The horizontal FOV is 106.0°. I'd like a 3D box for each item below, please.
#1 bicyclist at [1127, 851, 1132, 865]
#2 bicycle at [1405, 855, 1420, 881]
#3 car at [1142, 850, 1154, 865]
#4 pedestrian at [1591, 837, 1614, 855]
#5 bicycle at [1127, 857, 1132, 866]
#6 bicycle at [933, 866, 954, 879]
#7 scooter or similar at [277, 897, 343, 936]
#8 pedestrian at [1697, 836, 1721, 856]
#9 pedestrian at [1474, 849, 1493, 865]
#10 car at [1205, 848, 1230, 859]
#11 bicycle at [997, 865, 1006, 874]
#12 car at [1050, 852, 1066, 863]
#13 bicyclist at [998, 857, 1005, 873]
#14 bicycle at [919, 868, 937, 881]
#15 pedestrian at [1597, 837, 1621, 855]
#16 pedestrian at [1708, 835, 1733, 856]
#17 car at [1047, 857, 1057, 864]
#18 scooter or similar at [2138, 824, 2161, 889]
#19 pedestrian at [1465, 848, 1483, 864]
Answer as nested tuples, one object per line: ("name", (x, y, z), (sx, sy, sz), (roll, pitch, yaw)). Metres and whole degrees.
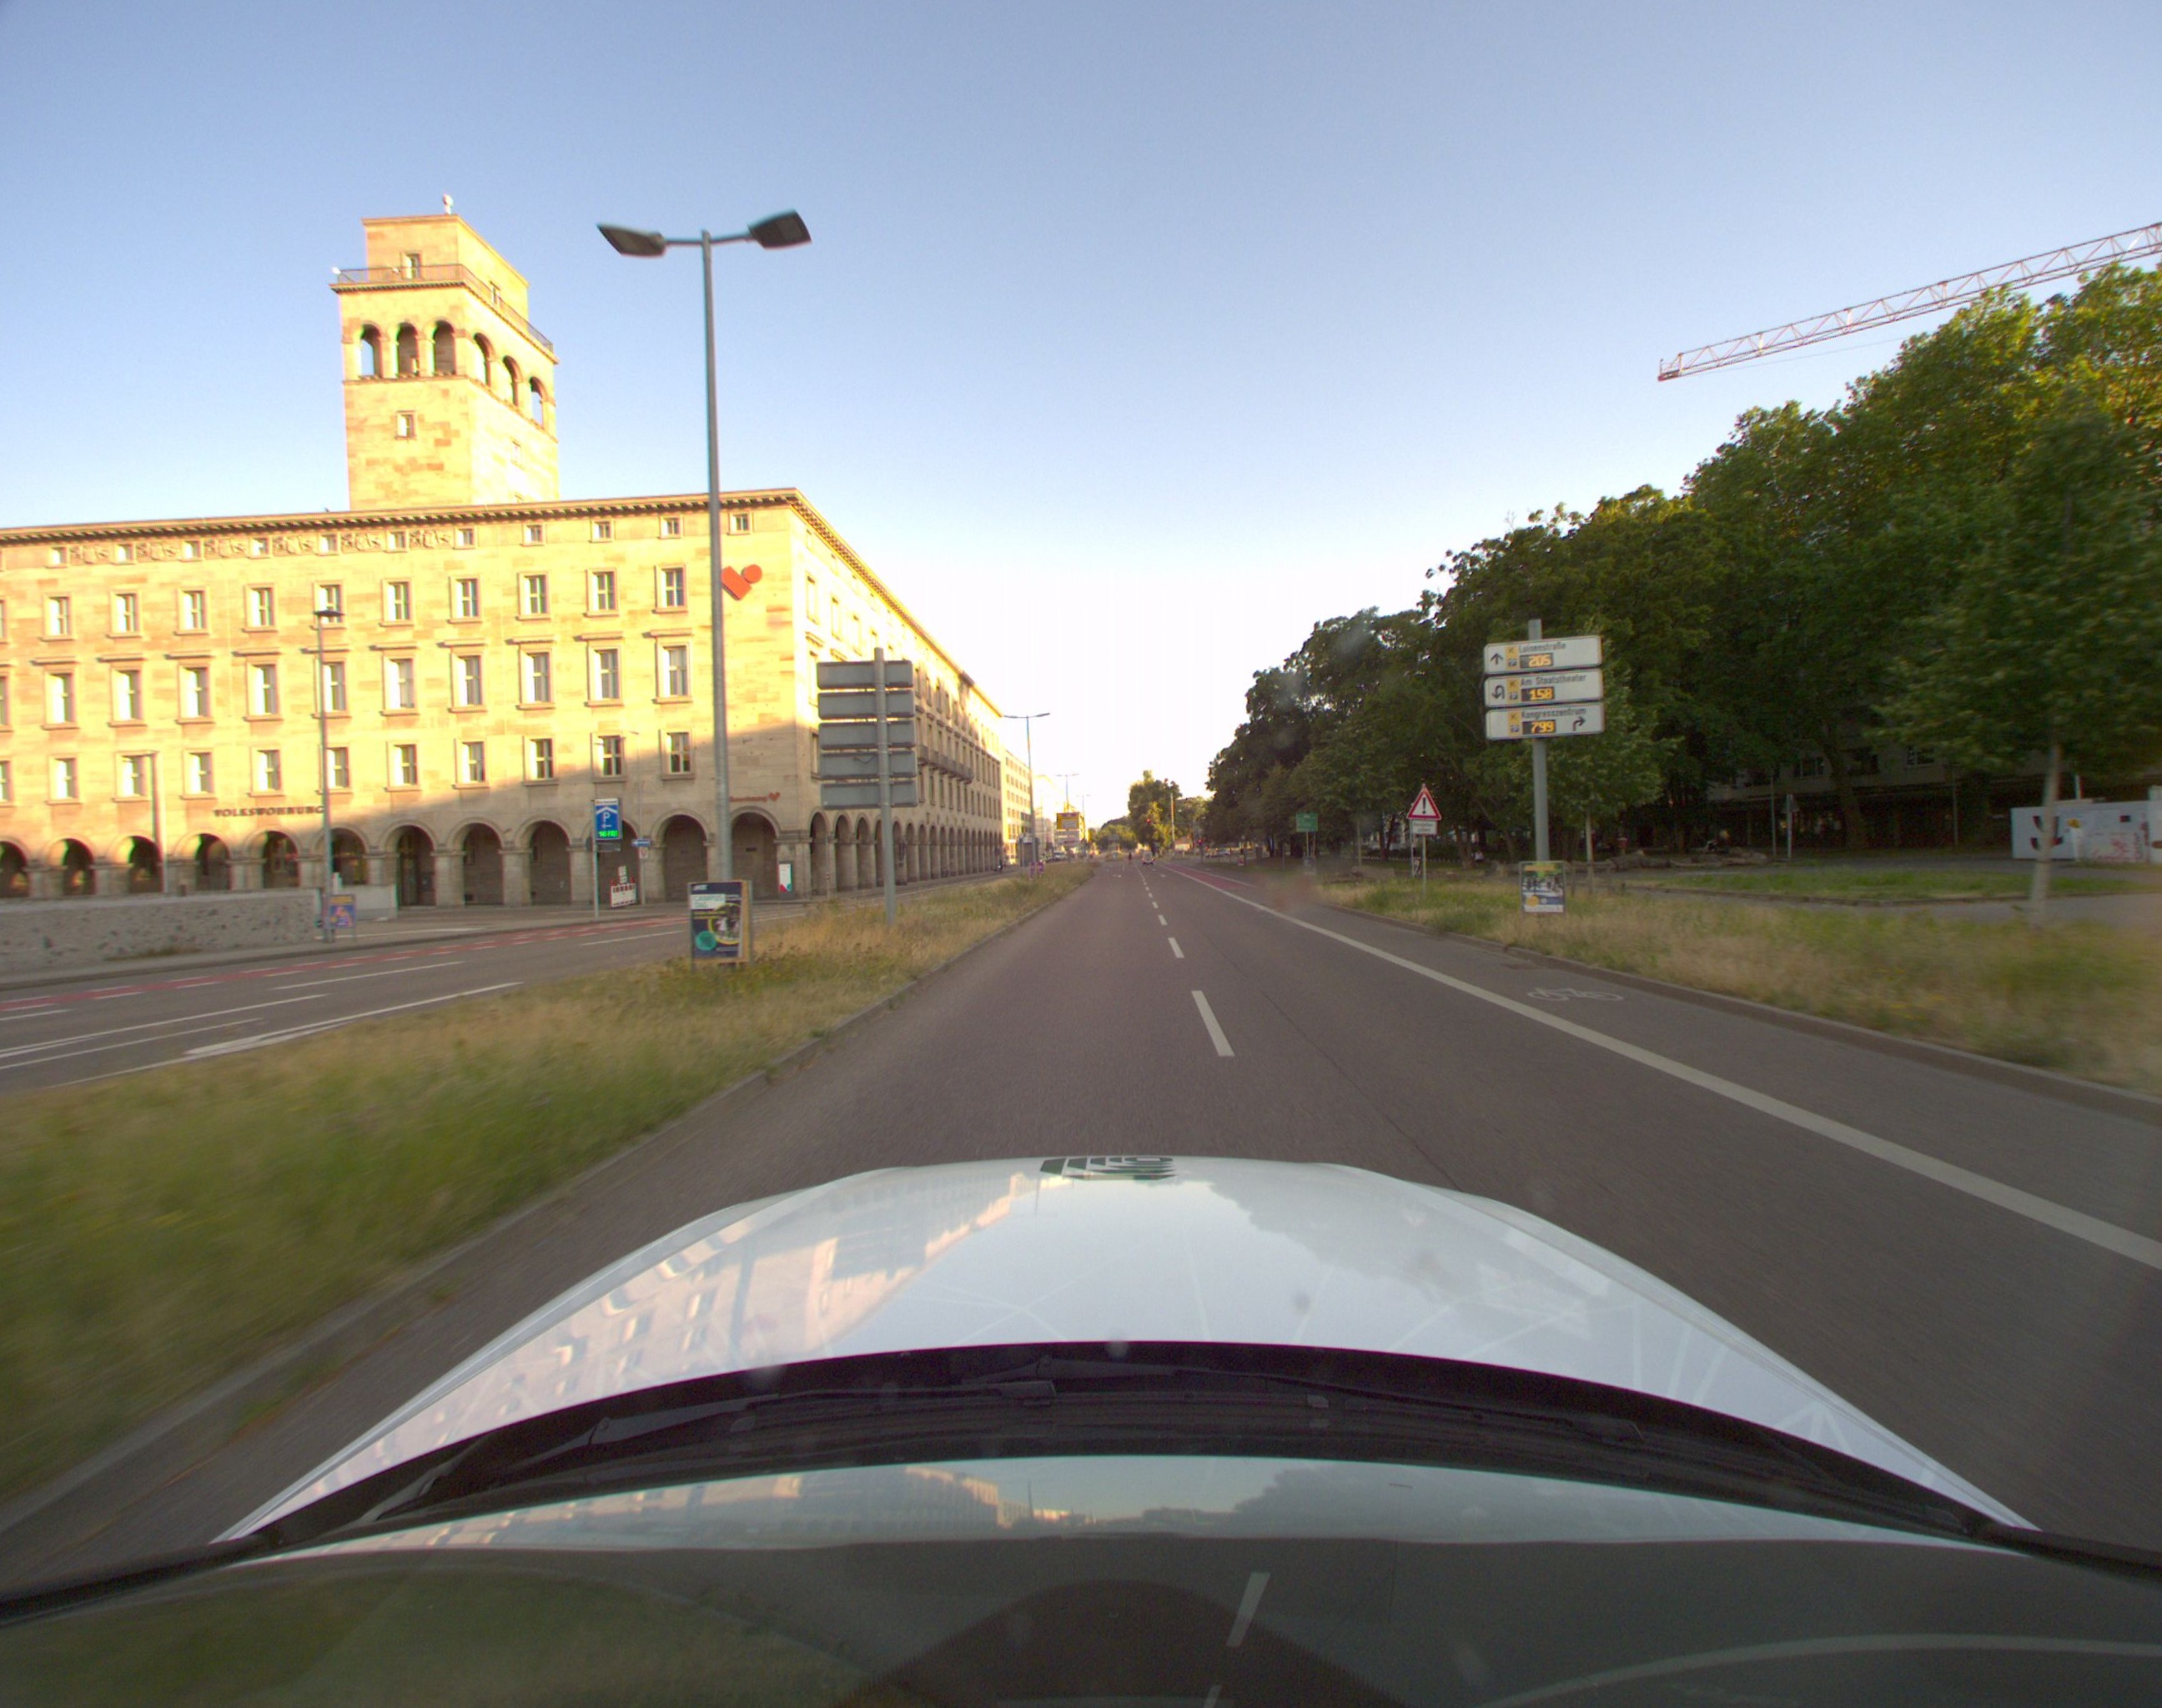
("bicyclist", (6.207, 0.505, 104.091), (0.626, 1.693, 0.749), (-2, -1, 2))
("bicycle", (14.242, 0.578, 34.956), (0.490, 1.005, 1.909), (-5, 0, 23))
("car", (8.526, 0.462, 103.735), (1.452, 1.781, 2.568), (-2, 0, 5))
("pedestrian", (37.271, -0.578, 58.224), (1.126, 1.260, 0.727), (-2, 0, 5))
("bicycle", (6.249, 0.926, 104.404), (0.634, 1.069, 2.071), (-1, 0, 3))
("bicycle", (-12.258, 1.658, 72.761), (0.472, 1.005, 2.018), (-3, 0, 39))
("scooter or similar", (-26.892, 2.158, 28.435), (1.565, 1.224, 0.543), (-2, -1, -17))
("pedestrian", (36.812, -0.477, 47.769), (0.784, 1.164, 0.766), (-2, 0, -3))
("pedestrian", (22.943, 0.169, 46.436), (0.681, 0.884, 0.619), (-2, 0, -21))
("car", (23.485, -0.099, 140.257), (3.967, 1.574, 2.003), (-3, 0, 5))
("bicycle", (-8.594, 1.670, 88.259), (0.543, 1.005, 1.993), (-2, 0, -17))
("car", (-5.435, 0.871, 193.774), (2.161, 2.385, 6.012), (-3, -2, 14))
("bicyclist", (-8.677, 1.183, 88.454), (0.538, 1.693, 0.744), (-2, -1, -17))
("bicycle", (-12.723, 1.666, 67.733), (0.473, 1.005, 2.016), (-2, 0, 22))
("pedestrian", (37.123, -0.561, 57.278), (1.126, 1.260, 0.907), (-2, 0, 5))
("pedestrian", (36.829, -0.474, 46.907), (0.784, 1.164, 0.766), (-2, 0, -3))
("car", (-6.654, 1.421, 187.217), (1.787, 1.475, 4.006), (-3, -2, 6))
("scooter or similar", (20.764, 0.047, 15.115), (0.422, 1.220, 1.400), (-5, 0, 4))
("pedestrian", (22.677, 0.113, 46.994), (0.682, 0.884, 0.589), (-3, 0, -22))
